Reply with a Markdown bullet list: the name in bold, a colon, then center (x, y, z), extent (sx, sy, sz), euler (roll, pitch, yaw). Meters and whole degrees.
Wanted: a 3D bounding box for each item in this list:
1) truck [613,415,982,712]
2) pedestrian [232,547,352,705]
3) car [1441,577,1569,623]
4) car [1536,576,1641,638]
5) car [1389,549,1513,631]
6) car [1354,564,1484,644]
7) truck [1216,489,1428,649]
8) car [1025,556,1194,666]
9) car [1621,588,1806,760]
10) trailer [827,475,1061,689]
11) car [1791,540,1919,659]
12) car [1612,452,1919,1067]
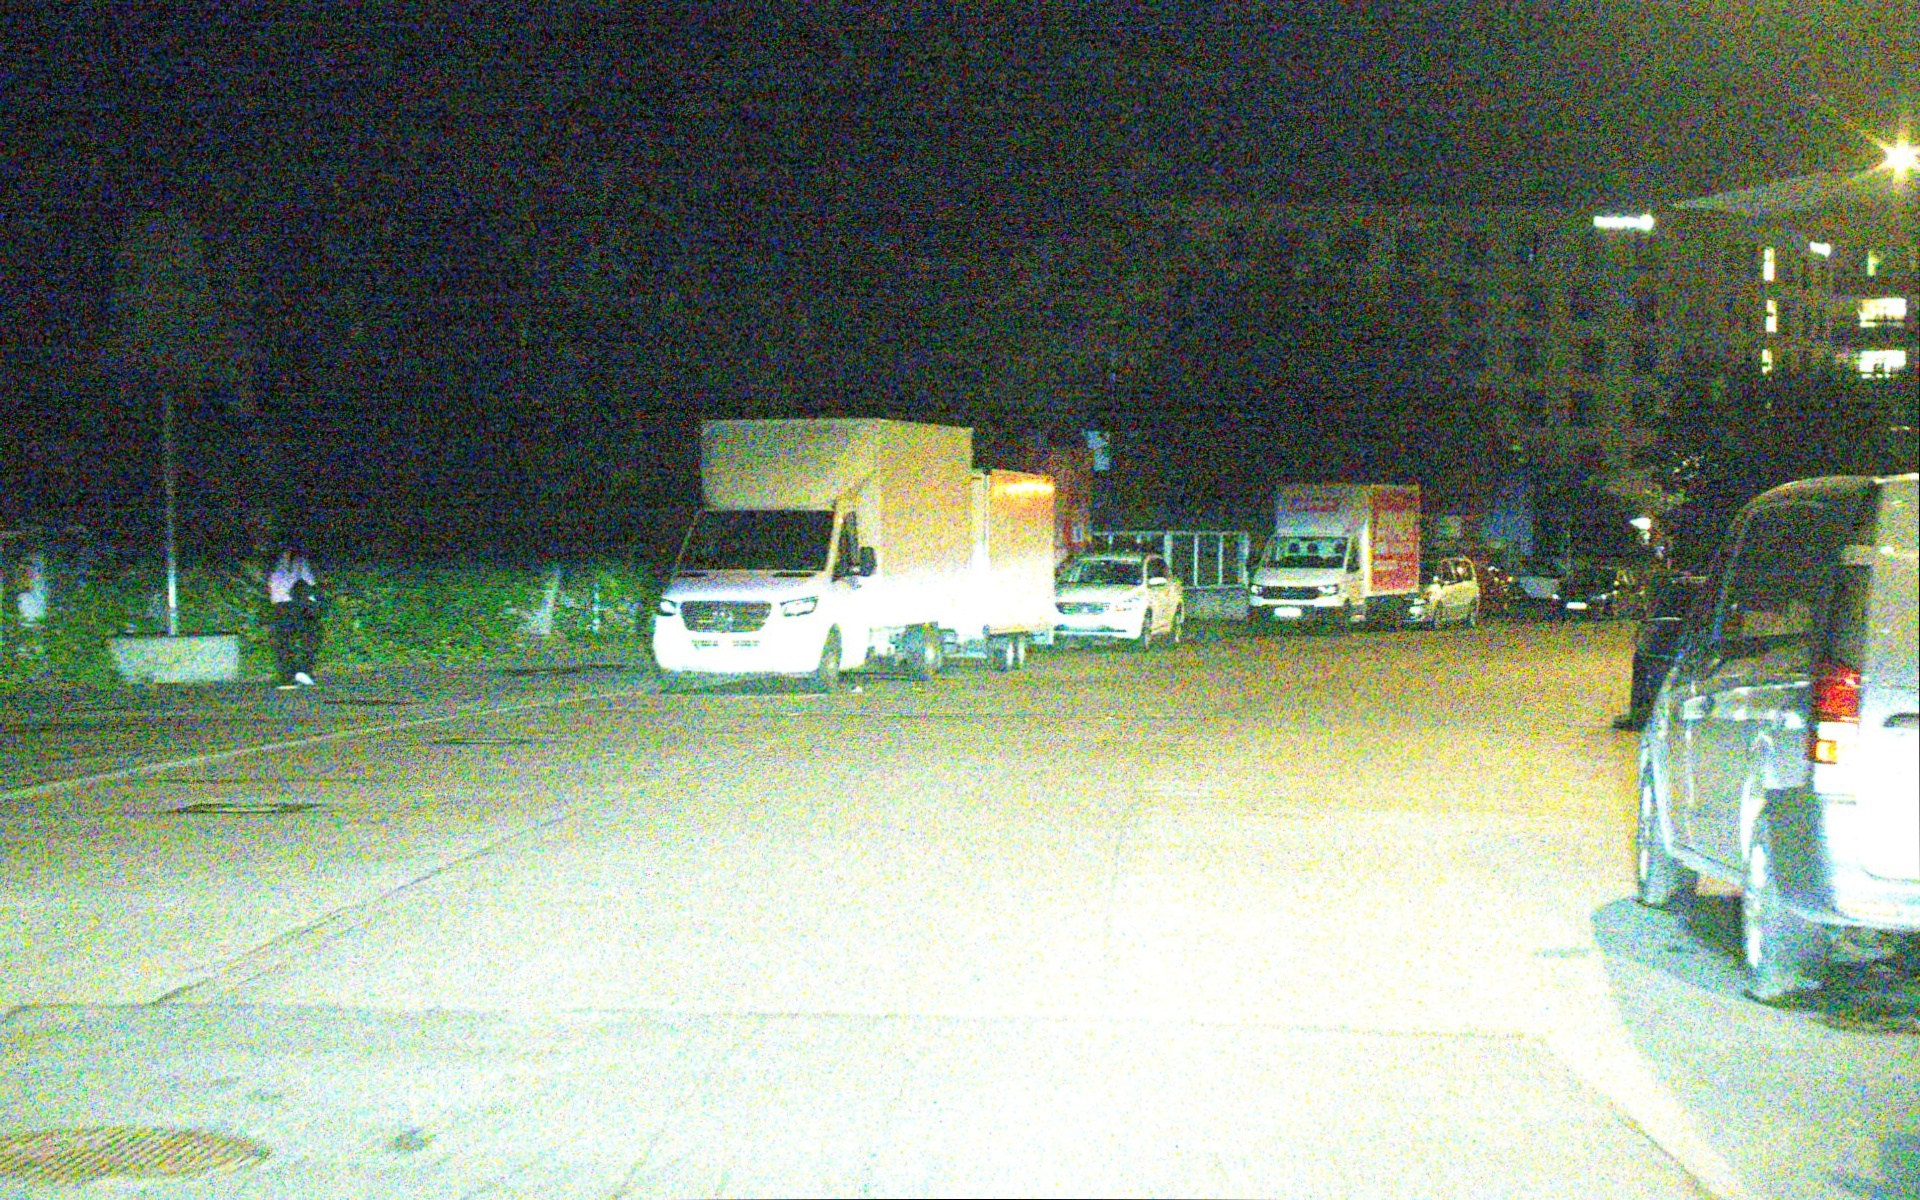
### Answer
- **truck**: center (-1.783, -0.437, 41.299), extent (2.374, 3.232, 7.227), euler (1, 1, 14)
- **pedestrian**: center (-7.172, 0.271, 36.937), extent (0.779, 1.665, 1.004), euler (0, 0, 39)
- **car**: center (18.697, -0.004, 117.910), extent (3.992, 1.565, 1.815), euler (0, 0, 24)
- **car**: center (17.802, 0.186, 97.241), extent (1.758, 1.521, 4.316), euler (4, 3, 26)
- **car**: center (14.378, -0.287, 100.405), extent (1.996, 2.313, 4.959), euler (-1, 0, 28)
- **car**: center (10.747, 0.071, 80.238), extent (1.831, 1.810, 4.832), euler (0, 0, 22)
- **truck**: center (7.914, -0.668, 74.231), extent (2.546, 3.269, 7.303), euler (1, 1, 22)
- **car**: center (2.601, 0.166, 58.611), extent (1.995, 1.766, 4.689), euler (1, 1, 14)
- **car**: center (7.436, 0.686, 34.174), extent (1.609, 1.506, 3.824), euler (3, 1, 11)
- **trailer**: center (-0.152, -0.264, 47.564), extent (2.206, 2.786, 4.614), euler (1, 1, 13)
- **car**: center (20.357, -0.033, 77.690), extent (2.023, 2.518, 6.044), euler (2, 1, 23)
- **car**: center (3.941, 0.509, 13.859), extent (1.994, 2.007, 5.354), euler (1, 1, 5)
